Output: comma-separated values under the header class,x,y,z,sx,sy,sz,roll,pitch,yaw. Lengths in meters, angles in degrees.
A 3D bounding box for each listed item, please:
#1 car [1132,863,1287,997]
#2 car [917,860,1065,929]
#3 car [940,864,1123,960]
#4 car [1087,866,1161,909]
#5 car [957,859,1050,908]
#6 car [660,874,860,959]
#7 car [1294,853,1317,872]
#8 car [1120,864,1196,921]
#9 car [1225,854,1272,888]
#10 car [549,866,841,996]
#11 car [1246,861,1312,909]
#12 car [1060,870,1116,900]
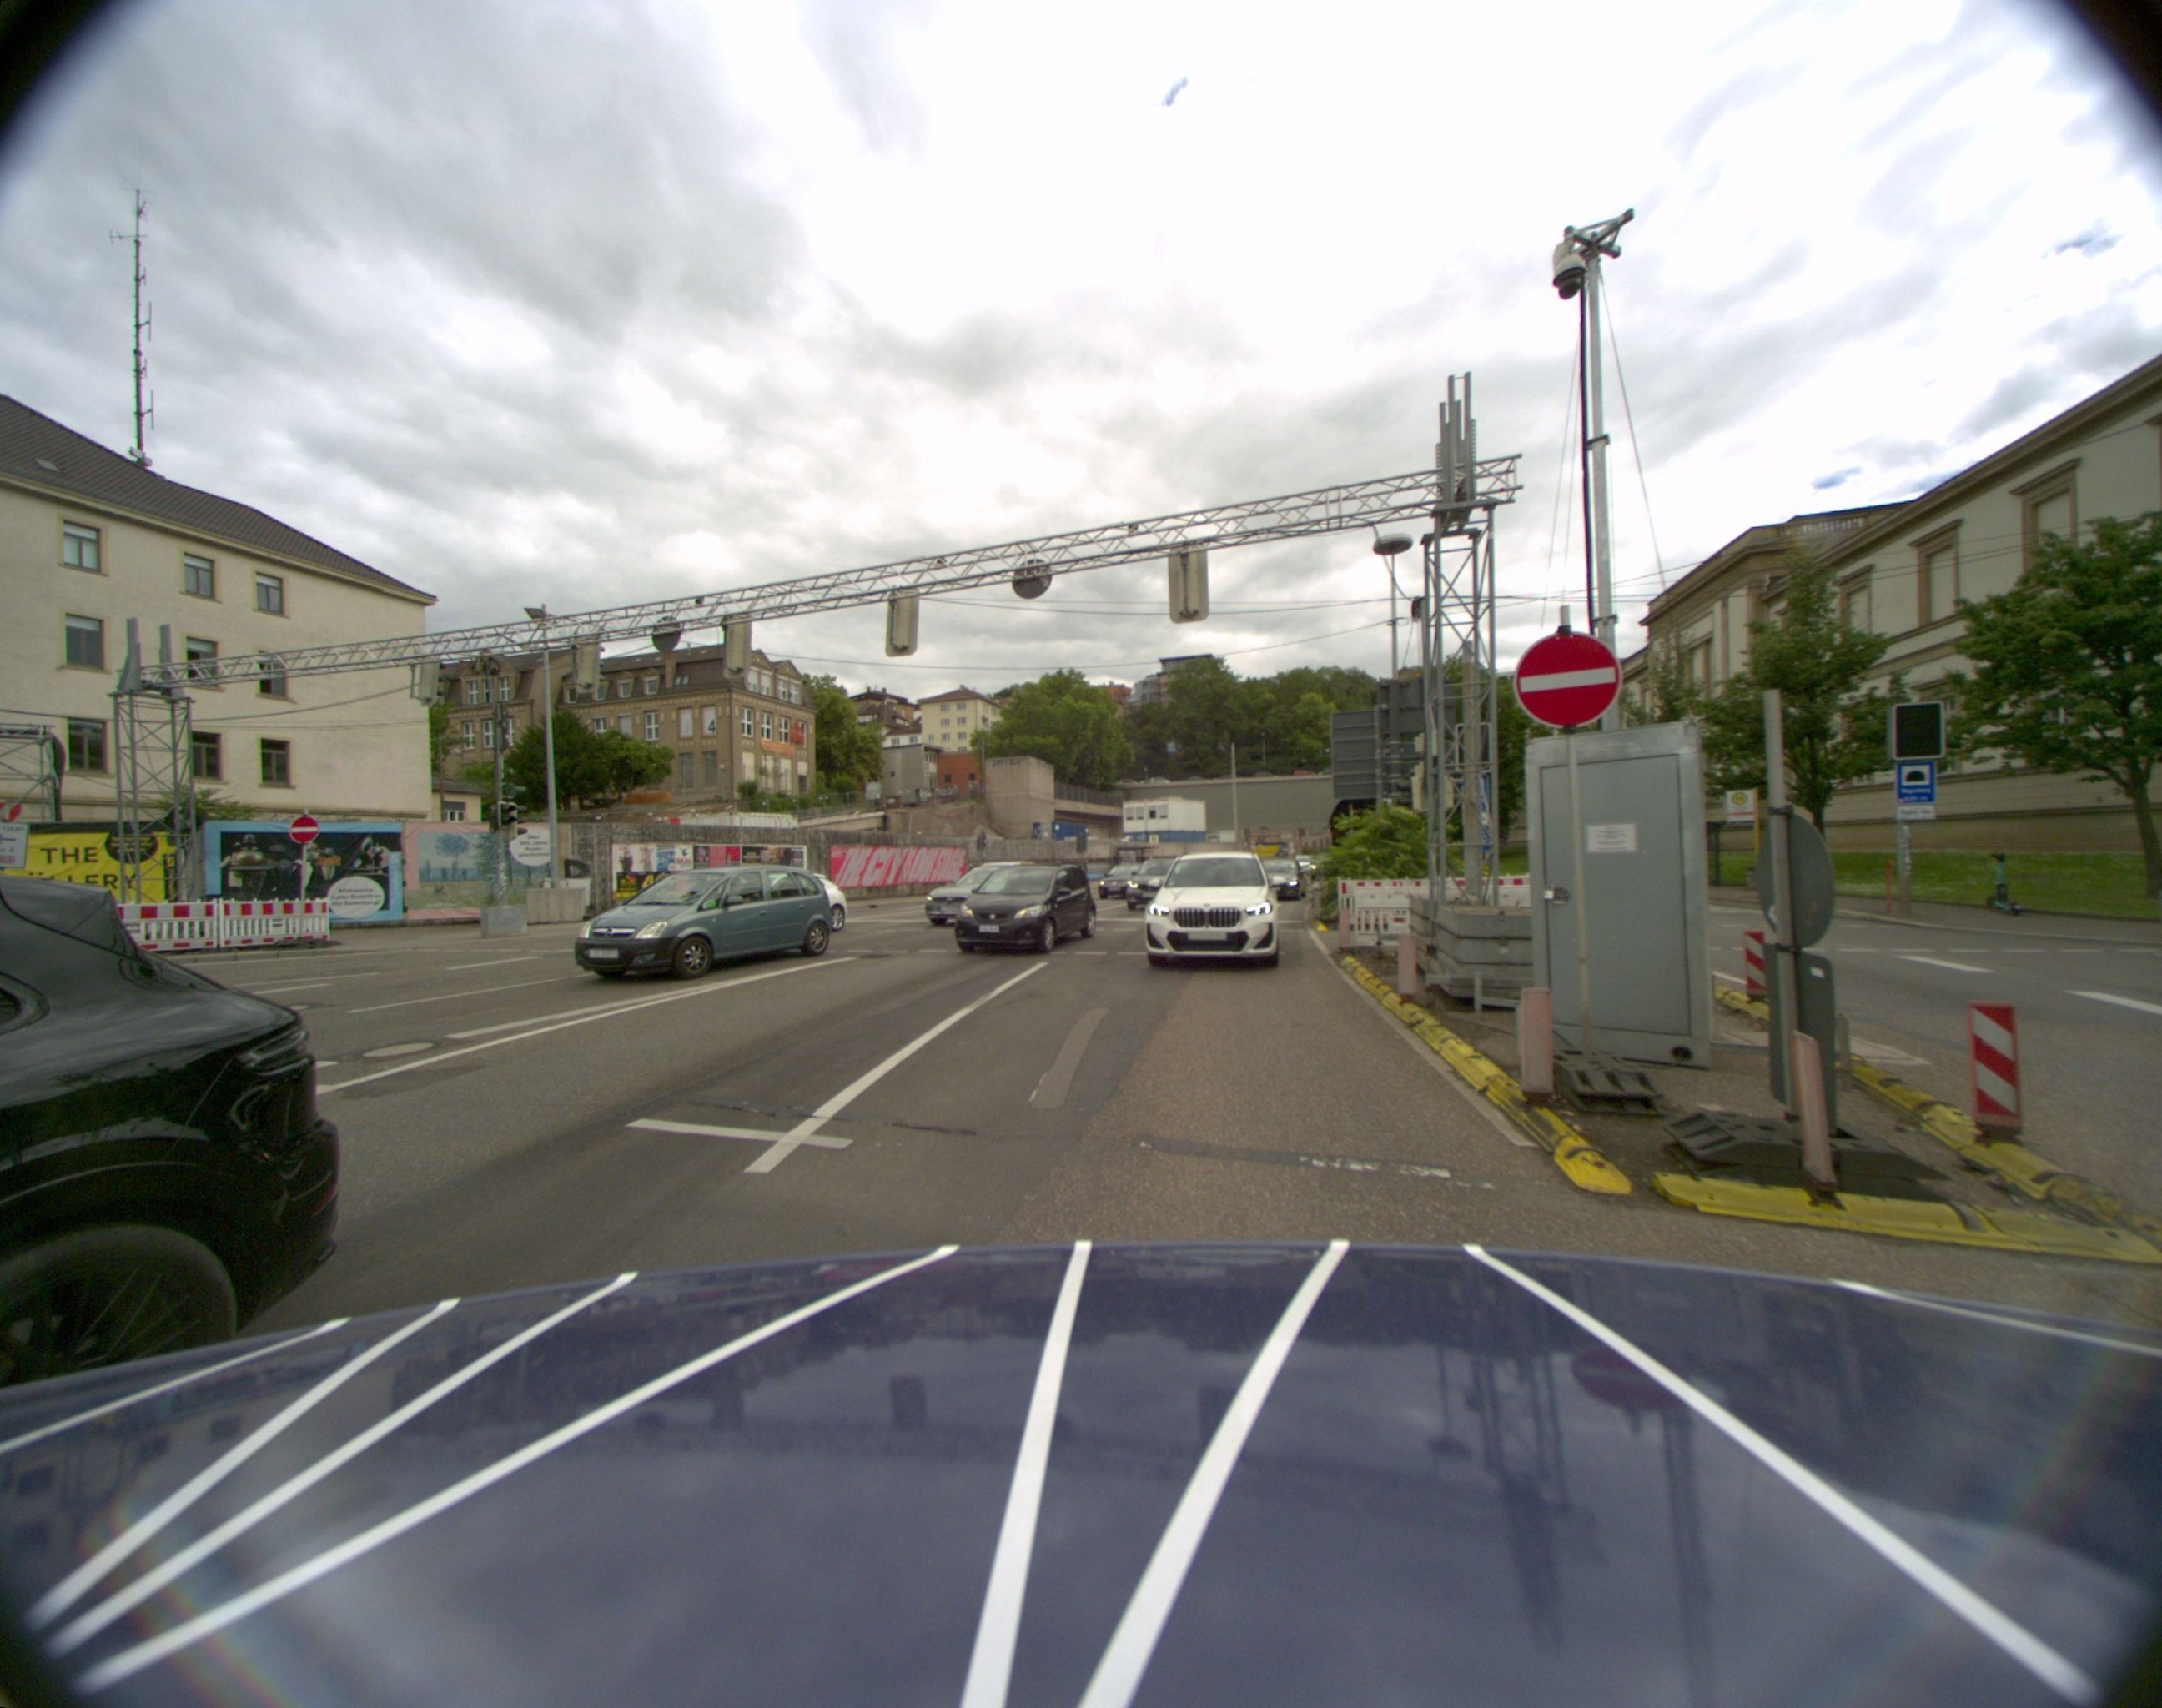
class,x,y,z,sx,sy,sz,roll,pitch,yaw
car,2.059,0.948,11.232,1.810,1.595,3.718,-1,0,16
car,-2.220,0.981,20.218,1.907,1.569,4.690,-1,0,21
car,-0.731,0.963,14.383,1.730,1.461,4.426,-1,0,21
car,1.849,1.325,31.028,1.807,1.569,4.445,-1,0,20
car,-2.762,1.035,27.956,1.689,1.564,4.077,-3,0,21
car,-6.766,1.265,16.523,1.689,1.408,4.091,-2,1,18
car,18.807,0.695,63.655,1.566,1.564,3.295,-1,0,21
car,2.470,1.133,23.576,1.689,1.564,3.717,-2,-1,15
car,8.380,0.811,37.856,1.688,1.564,4.000,-1,0,21
car,-5.705,1.035,11.851,1.689,1.565,3.960,-1,0,19
car,7.357,1.084,27.950,1.996,1.543,4.005,-1,0,19
car,0.474,1.764,44.159,1.807,1.569,4.446,-1,0,21
